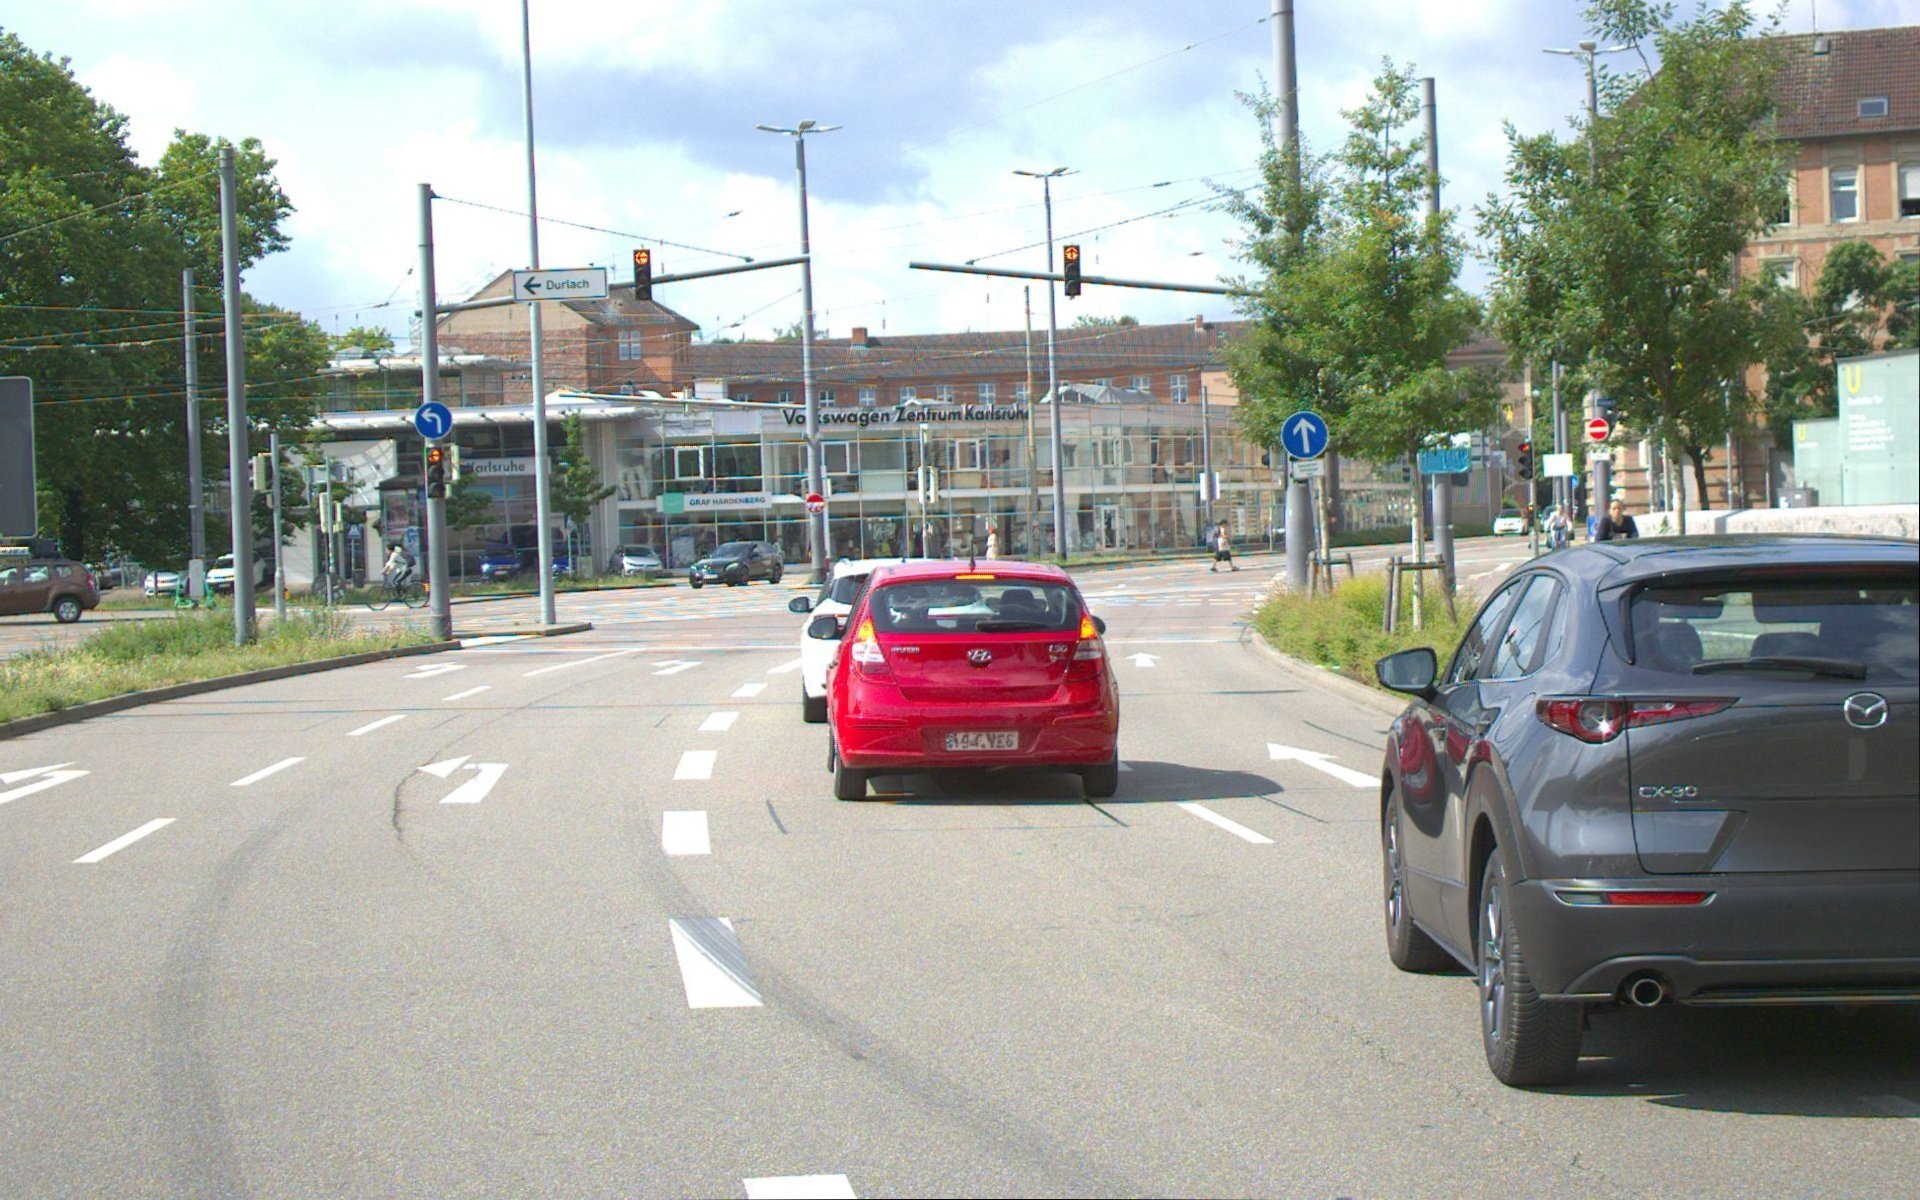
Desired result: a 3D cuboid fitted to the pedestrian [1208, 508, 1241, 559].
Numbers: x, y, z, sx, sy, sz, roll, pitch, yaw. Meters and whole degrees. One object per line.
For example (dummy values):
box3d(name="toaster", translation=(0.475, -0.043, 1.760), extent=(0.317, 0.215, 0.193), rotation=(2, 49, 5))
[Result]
box3d(name="pedestrian", translation=(8.139, -2.049, 105.828), extent=(0.673, 1.530, 0.674), rotation=(-3, 1, -39))

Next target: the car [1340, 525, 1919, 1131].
box3d(name="car", translation=(2.289, 0.550, 10.710), extent=(1.806, 1.503, 4.205), rotation=(-1, 0, 1))

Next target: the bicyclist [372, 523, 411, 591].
box3d(name="bicyclist", translation=(-15.865, -1.199, 95.955), extent=(0.885, 1.864, 0.764), rotation=(-2, 1, -20))

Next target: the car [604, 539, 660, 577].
box3d(name="car", translation=(-14.297, -1.829, 149.745), extent=(1.993, 1.590, 4.001), rotation=(-2, 1, -11))

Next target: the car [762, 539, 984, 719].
box3d(name="car", translation=(-0.817, 0.207, 31.598), extent=(1.848, 1.467, 4.335), rotation=(-2, 1, -2))

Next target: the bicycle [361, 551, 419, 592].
box3d(name="bicycle", translation=(-15.905, -0.793, 95.939), extent=(1.464, 1.113, 0.587), rotation=(-2, 1, -20))

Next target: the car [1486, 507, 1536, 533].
box3d(name="car", translation=(31.536, -4.591, 196.801), extent=(1.996, 1.437, 3.996), rotation=(-1, 1, 22))

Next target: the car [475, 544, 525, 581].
box3d(name="car", translation=(-19.830, -1.630, 148.397), extent=(1.993, 1.546, 4.079), rotation=(-2, 1, -6))

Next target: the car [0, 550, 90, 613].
box3d(name="car", translation=(-23.929, -0.435, 86.162), extent=(4.066, 1.503, 1.815), rotation=(-2, 1, -15))

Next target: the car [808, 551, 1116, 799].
box3d(name="car", translation=(-0.001, 0.416, 22.430), extent=(1.816, 1.434, 4.067), rotation=(-1, 1, 0))

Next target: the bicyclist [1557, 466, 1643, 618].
box3d(name="bicyclist", translation=(7.394, -0.670, 39.763), extent=(0.736, 1.696, 0.965), rotation=(-3, 1, 1))

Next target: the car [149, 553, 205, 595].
box3d(name="car", translation=(-34.201, -1.140, 150.235), extent=(1.797, 1.763, 4.001), rotation=(-2, 1, -5))

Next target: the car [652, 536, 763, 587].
box3d(name="car", translation=(-8.173, -1.253, 111.557), extent=(1.996, 1.525, 3.996), rotation=(-1, 1, 22))

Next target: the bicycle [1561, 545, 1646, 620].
box3d(name="bicycle", translation=(7.422, -0.215, 39.710), extent=(0.625, 0.808, 1.789), rotation=(-3, 1, 1))
